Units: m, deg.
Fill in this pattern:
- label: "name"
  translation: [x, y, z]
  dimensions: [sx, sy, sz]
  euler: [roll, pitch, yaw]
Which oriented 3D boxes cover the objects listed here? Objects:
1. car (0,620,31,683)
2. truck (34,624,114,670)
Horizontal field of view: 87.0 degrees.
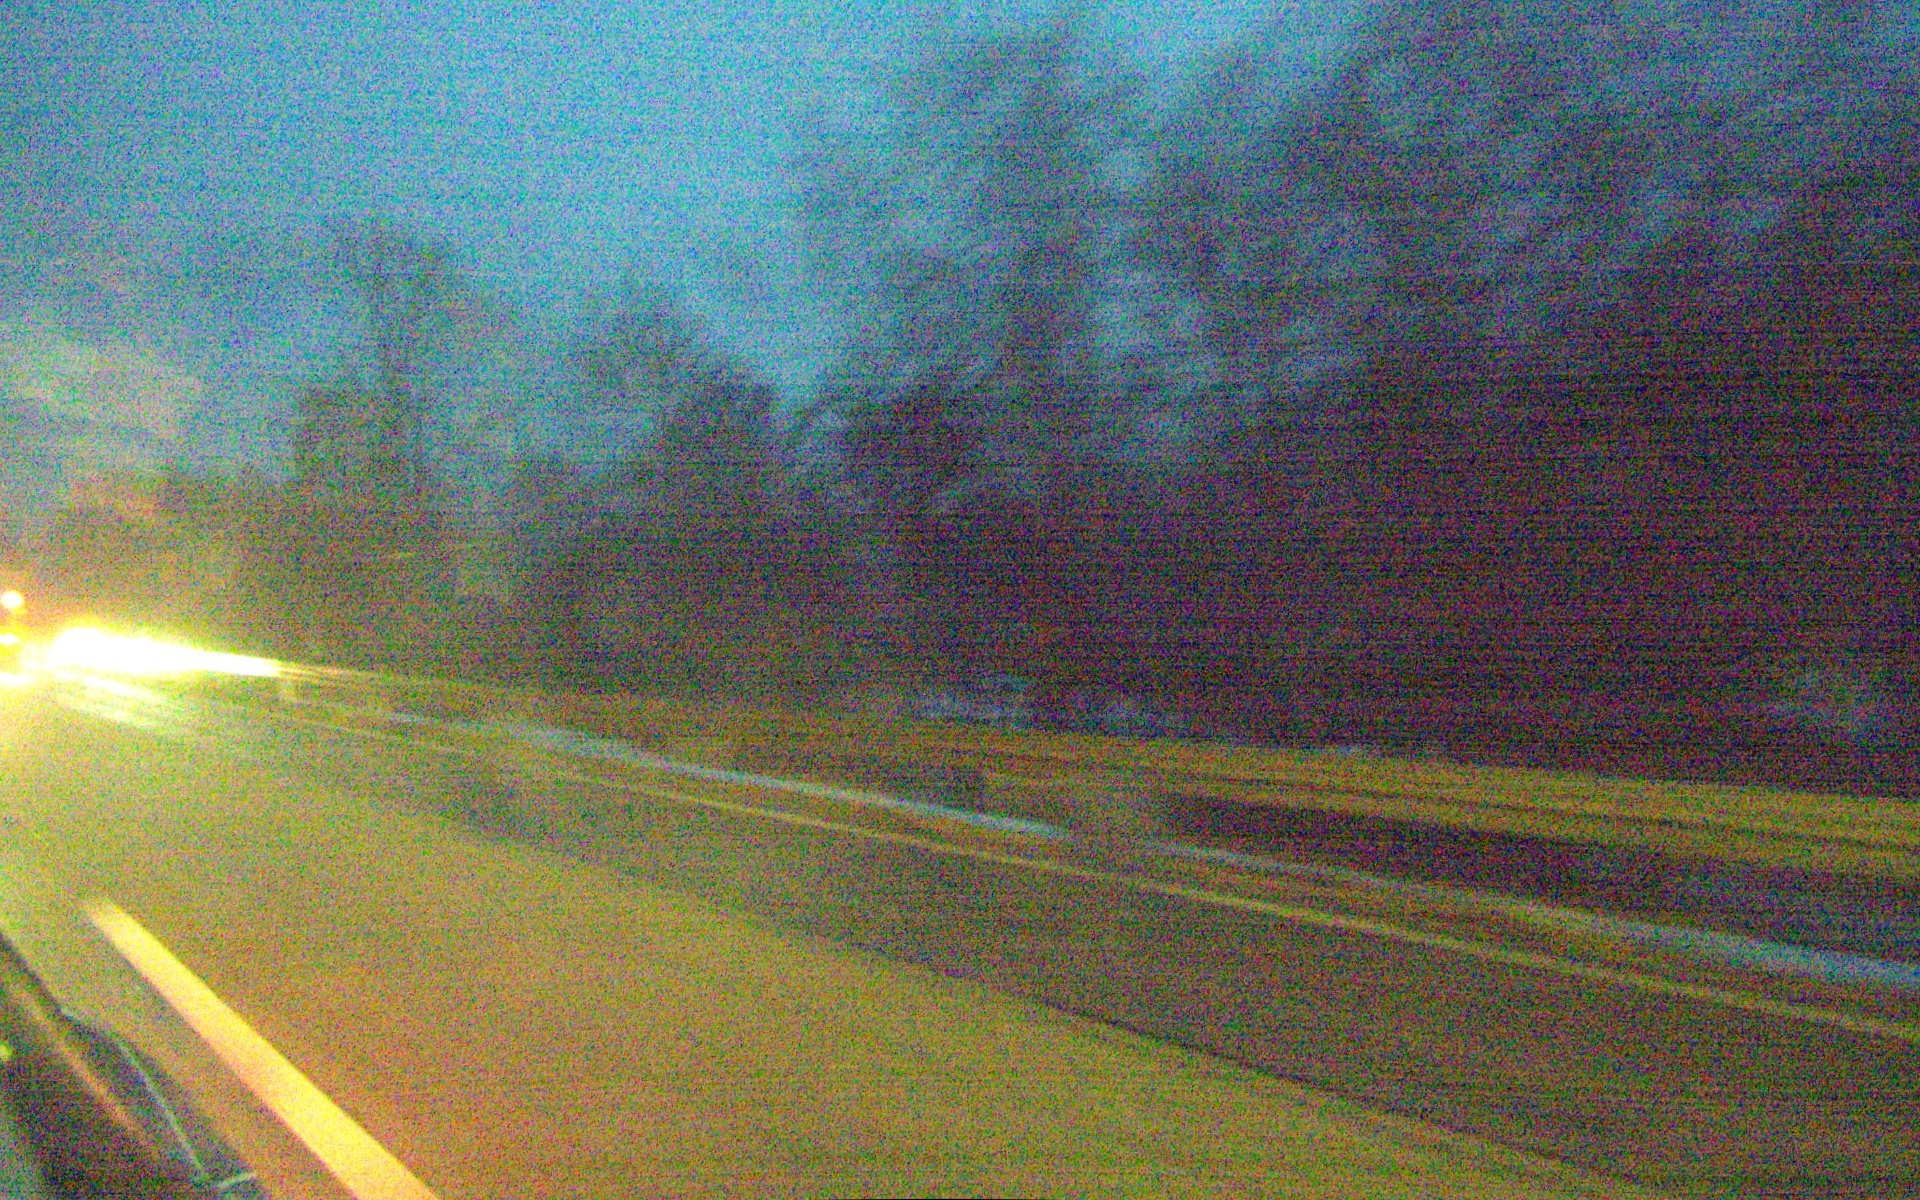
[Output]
- label: "car"
  translation: [-24.699, 1.280, 25.102]
  dimensions: [3.213, 1.495, 1.974]
  euler: [-1, 0, 39]
- label: "truck"
  translation: [-62.392, 3.215, 71.150]
  dimensions: [10.461, 2.856, 2.895]
  euler: [-1, 0, 42]
